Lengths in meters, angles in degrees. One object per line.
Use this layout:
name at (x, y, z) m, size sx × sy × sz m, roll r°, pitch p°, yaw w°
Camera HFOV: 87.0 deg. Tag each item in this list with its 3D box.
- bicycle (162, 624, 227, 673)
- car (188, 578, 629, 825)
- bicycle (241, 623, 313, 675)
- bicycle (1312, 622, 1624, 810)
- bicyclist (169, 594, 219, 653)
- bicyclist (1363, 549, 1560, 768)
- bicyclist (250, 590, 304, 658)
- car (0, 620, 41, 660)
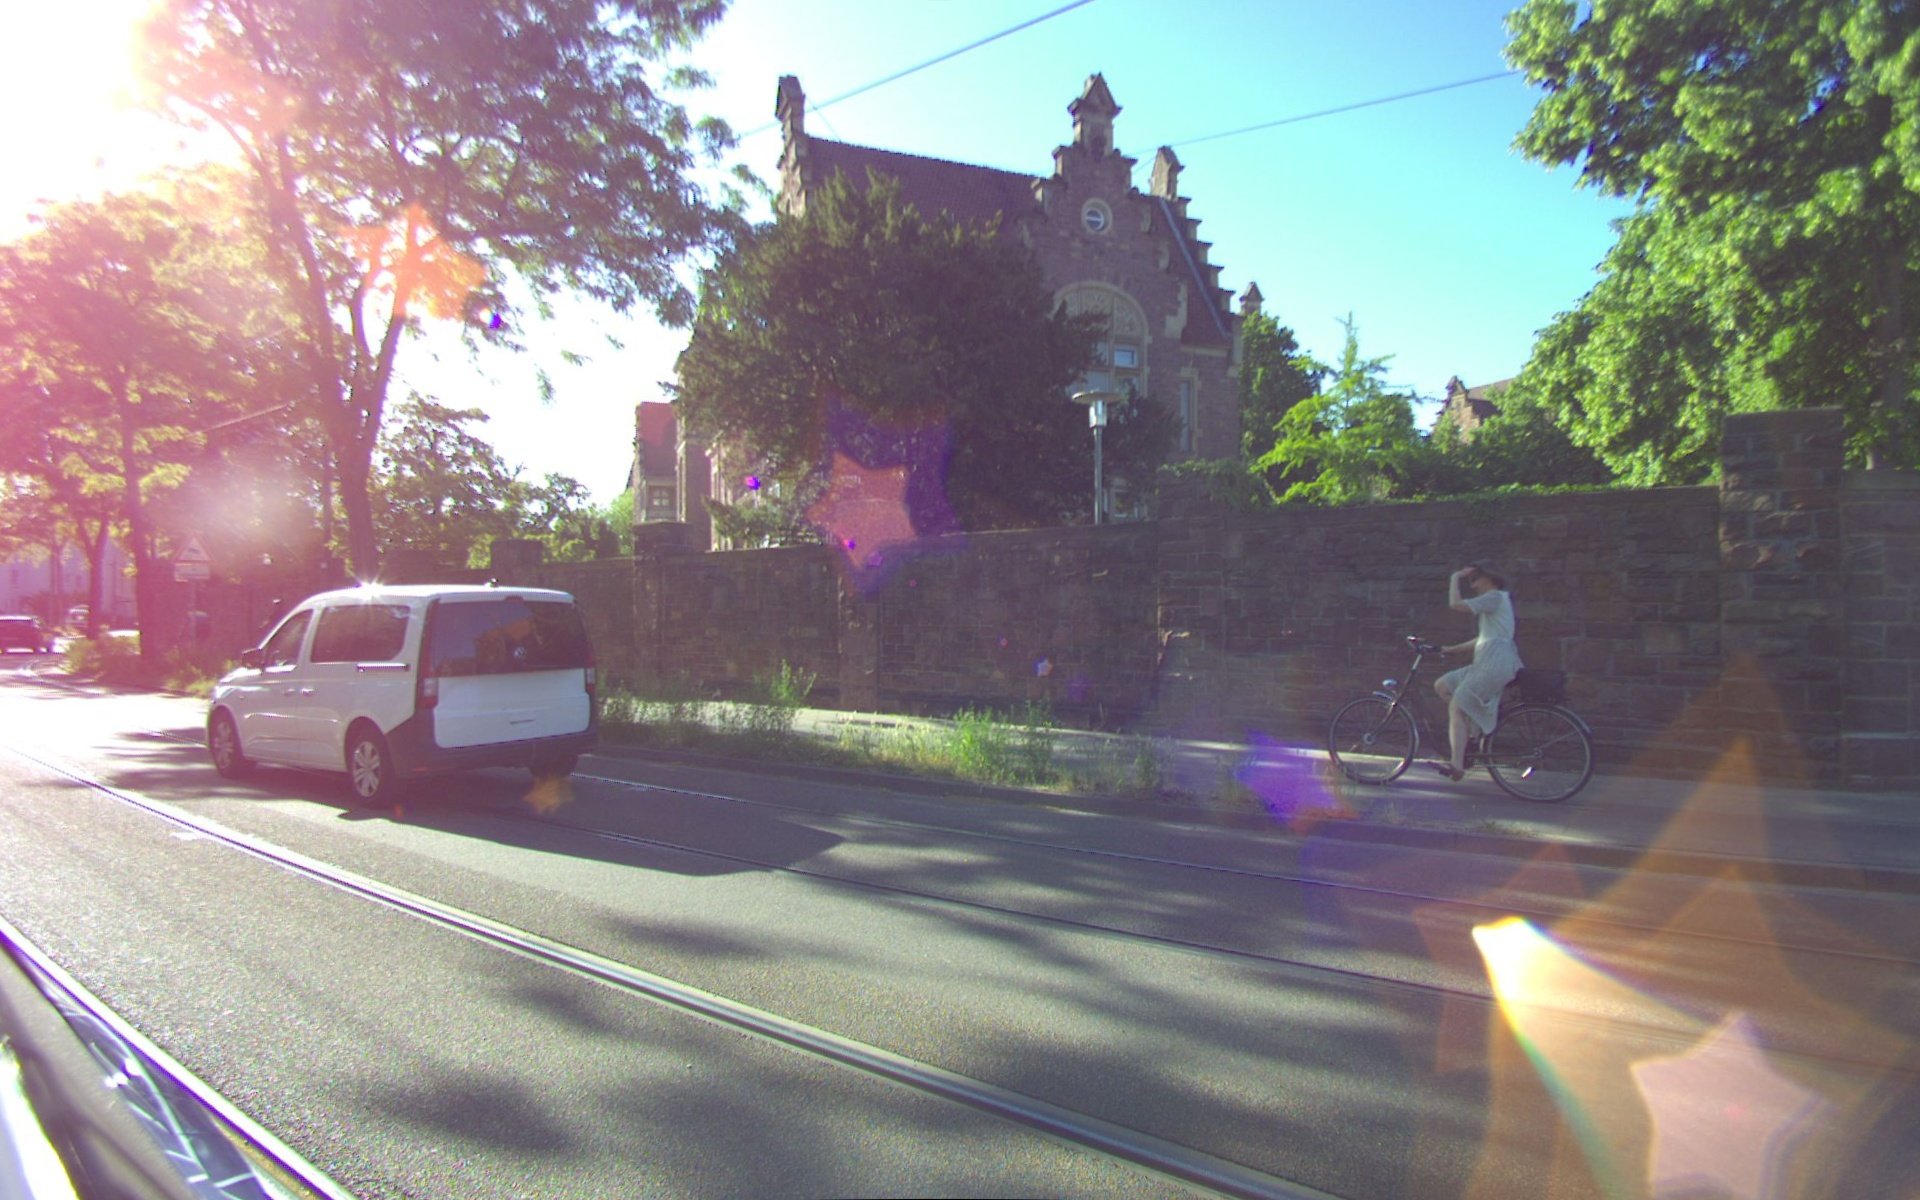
bicycle at (-19.592, 1.225, 25.890) m, size 1.849 × 1.097 × 0.679 m, roll 3°, pitch 1°, yaw 31°
car at (-5.174, 0.769, 9.335) m, size 4.243 × 1.801 × 1.812 m, roll -1°, pitch -1°, yaw 34°
bicycle at (-15.155, 1.071, 22.445) m, size 2.059 × 1.097 × 0.678 m, roll -1°, pitch -1°, yaw 36°
bicycle at (3.734, 0.775, 7.523) m, size 1.949 × 1.207 × 0.808 m, roll -1°, pitch 0°, yaw 37°
bicyclist at (-19.613, 0.592, 25.912) m, size 1.147 × 1.470 × 0.648 m, roll -1°, pitch -1°, yaw 31°
bicyclist at (3.728, 0.400, 7.531) m, size 1.188 × 1.482 × 0.749 m, roll -1°, pitch 0°, yaw 37°
bicyclist at (-15.155, 0.527, 22.449) m, size 1.150 × 1.470 × 0.647 m, roll -1°, pitch -1°, yaw 36°
car at (-41.311, 1.712, 43.824) m, size 4.358 × 1.619 × 1.798 m, roll -1°, pitch -1°, yaw 42°
